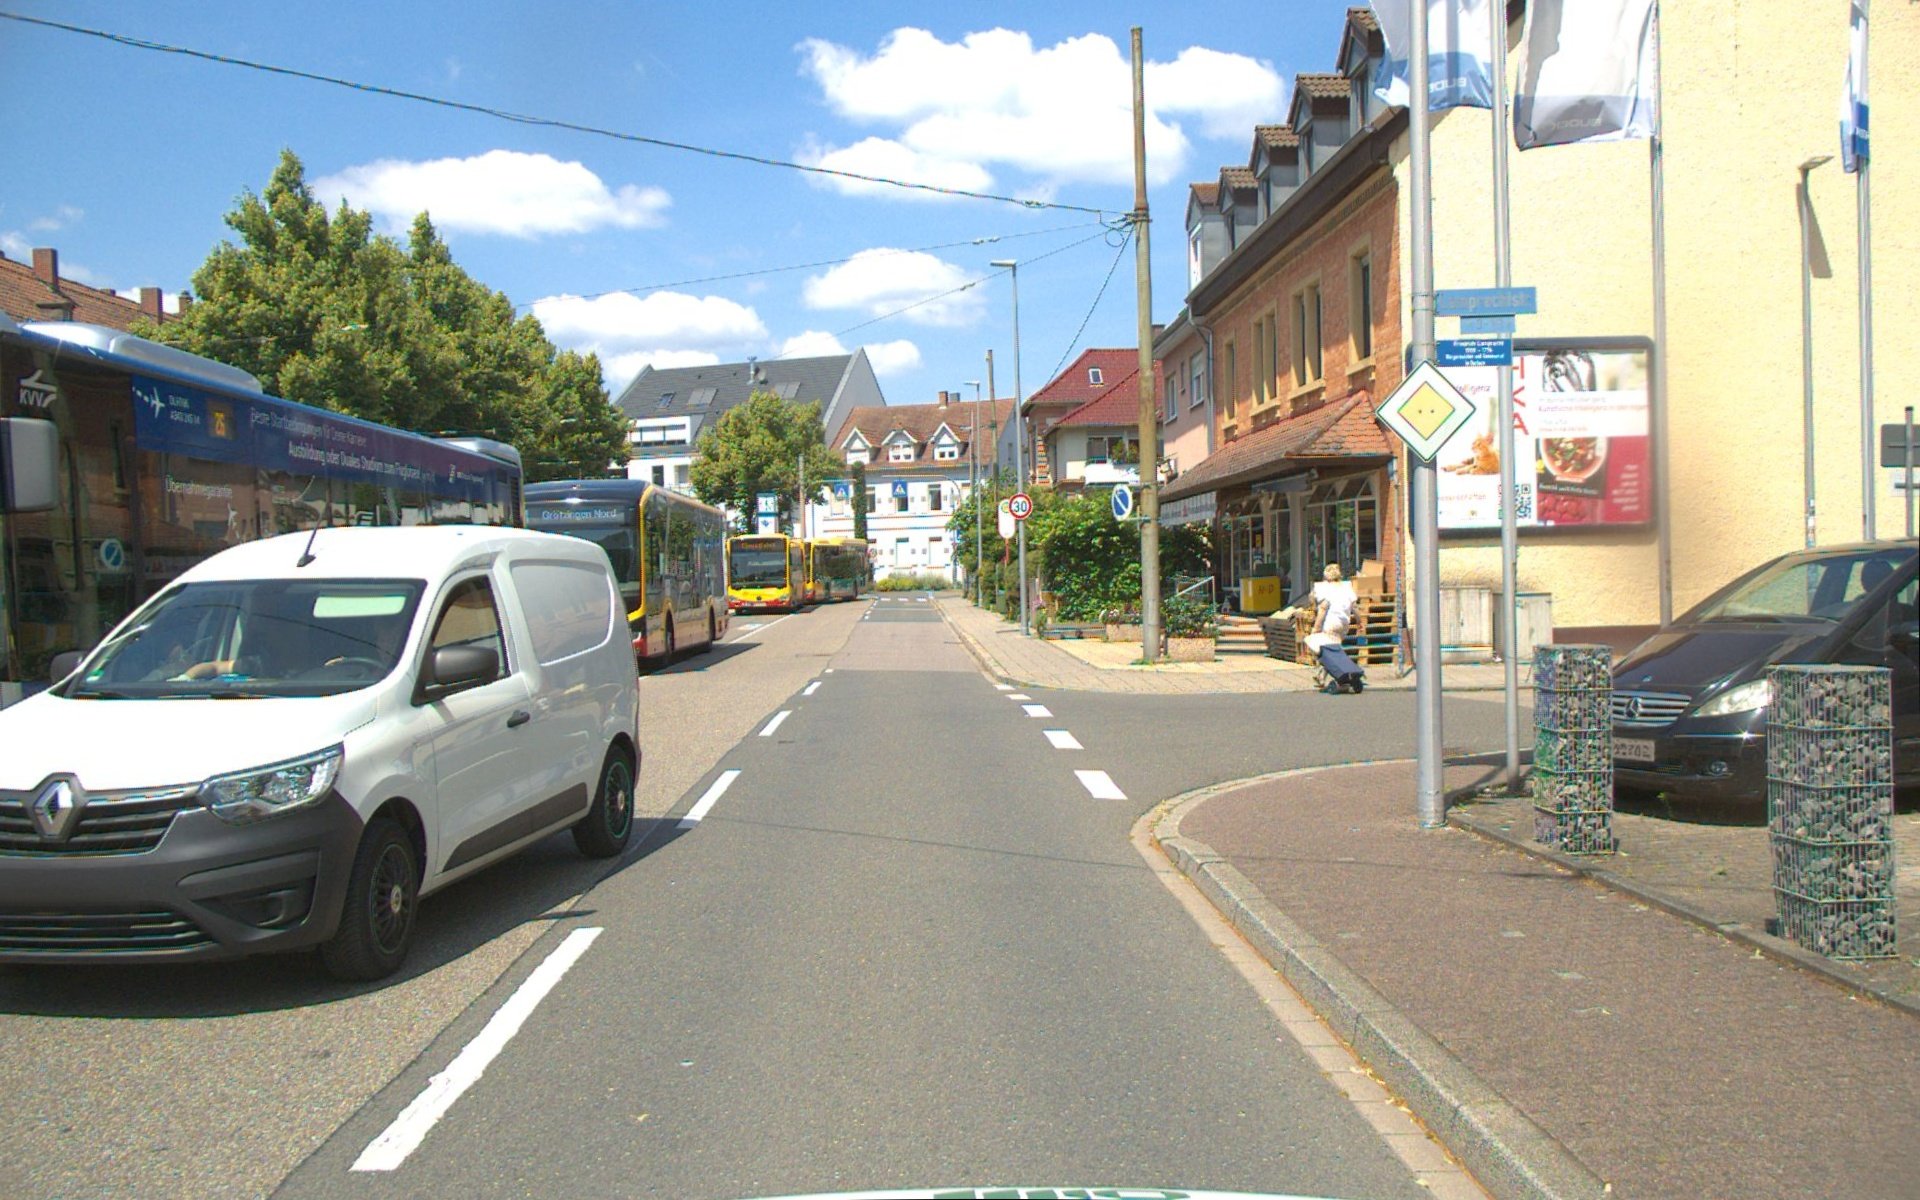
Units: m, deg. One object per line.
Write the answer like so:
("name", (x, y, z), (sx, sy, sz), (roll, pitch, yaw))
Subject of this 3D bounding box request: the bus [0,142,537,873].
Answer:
("bus", (-6.260, -0.401, 13.754), (2.849, 3.487, 12.033), (1, -1, -2))

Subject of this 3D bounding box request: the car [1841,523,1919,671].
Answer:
("car", (14.718, -0.101, 22.100), (4.956, 1.894, 1.906), (-2, 0, -6))

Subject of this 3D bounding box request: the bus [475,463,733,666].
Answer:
("bus", (-6.681, -0.534, 33.285), (2.839, 3.304, 12.192), (1, -1, -2))

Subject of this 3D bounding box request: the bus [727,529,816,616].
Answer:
("bus", (-7.756, -1.124, 69.500), (2.849, 3.304, 12.113), (1, 0, -2))

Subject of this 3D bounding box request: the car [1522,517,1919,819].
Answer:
("car", (5.631, 0.320, 10.060), (3.812, 1.570, 1.835), (-1, 0, -15))

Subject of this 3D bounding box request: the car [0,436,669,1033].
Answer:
("car", (-2.813, 0.436, 7.648), (1.668, 1.883, 4.716), (0, -1, 5))

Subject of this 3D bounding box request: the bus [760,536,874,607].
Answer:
("bus", (-6.983, -1.490, 83.017), (2.720, 3.264, 12.319), (1, 2, 9))

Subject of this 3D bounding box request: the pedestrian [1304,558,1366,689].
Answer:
("pedestrian", (4.950, 0.304, 21.825), (0.690, 1.670, 0.660), (-2, 2, 18))

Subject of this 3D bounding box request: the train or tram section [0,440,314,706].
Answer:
("train or tram section", (-14.959, -0.425, 26.579), (2.904, 3.706, 17.345), (1, 0, -2))

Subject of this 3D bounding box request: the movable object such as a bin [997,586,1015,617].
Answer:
("movable object such as a bin", (1.399, 0.047, 50.657), (0.399, 0.922, 0.729), (-5, 0, -5))

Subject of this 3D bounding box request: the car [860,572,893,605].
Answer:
("car", (-5.341, -0.692, 106.229), (1.953, 2.049, 3.999), (1, -1, -1))
